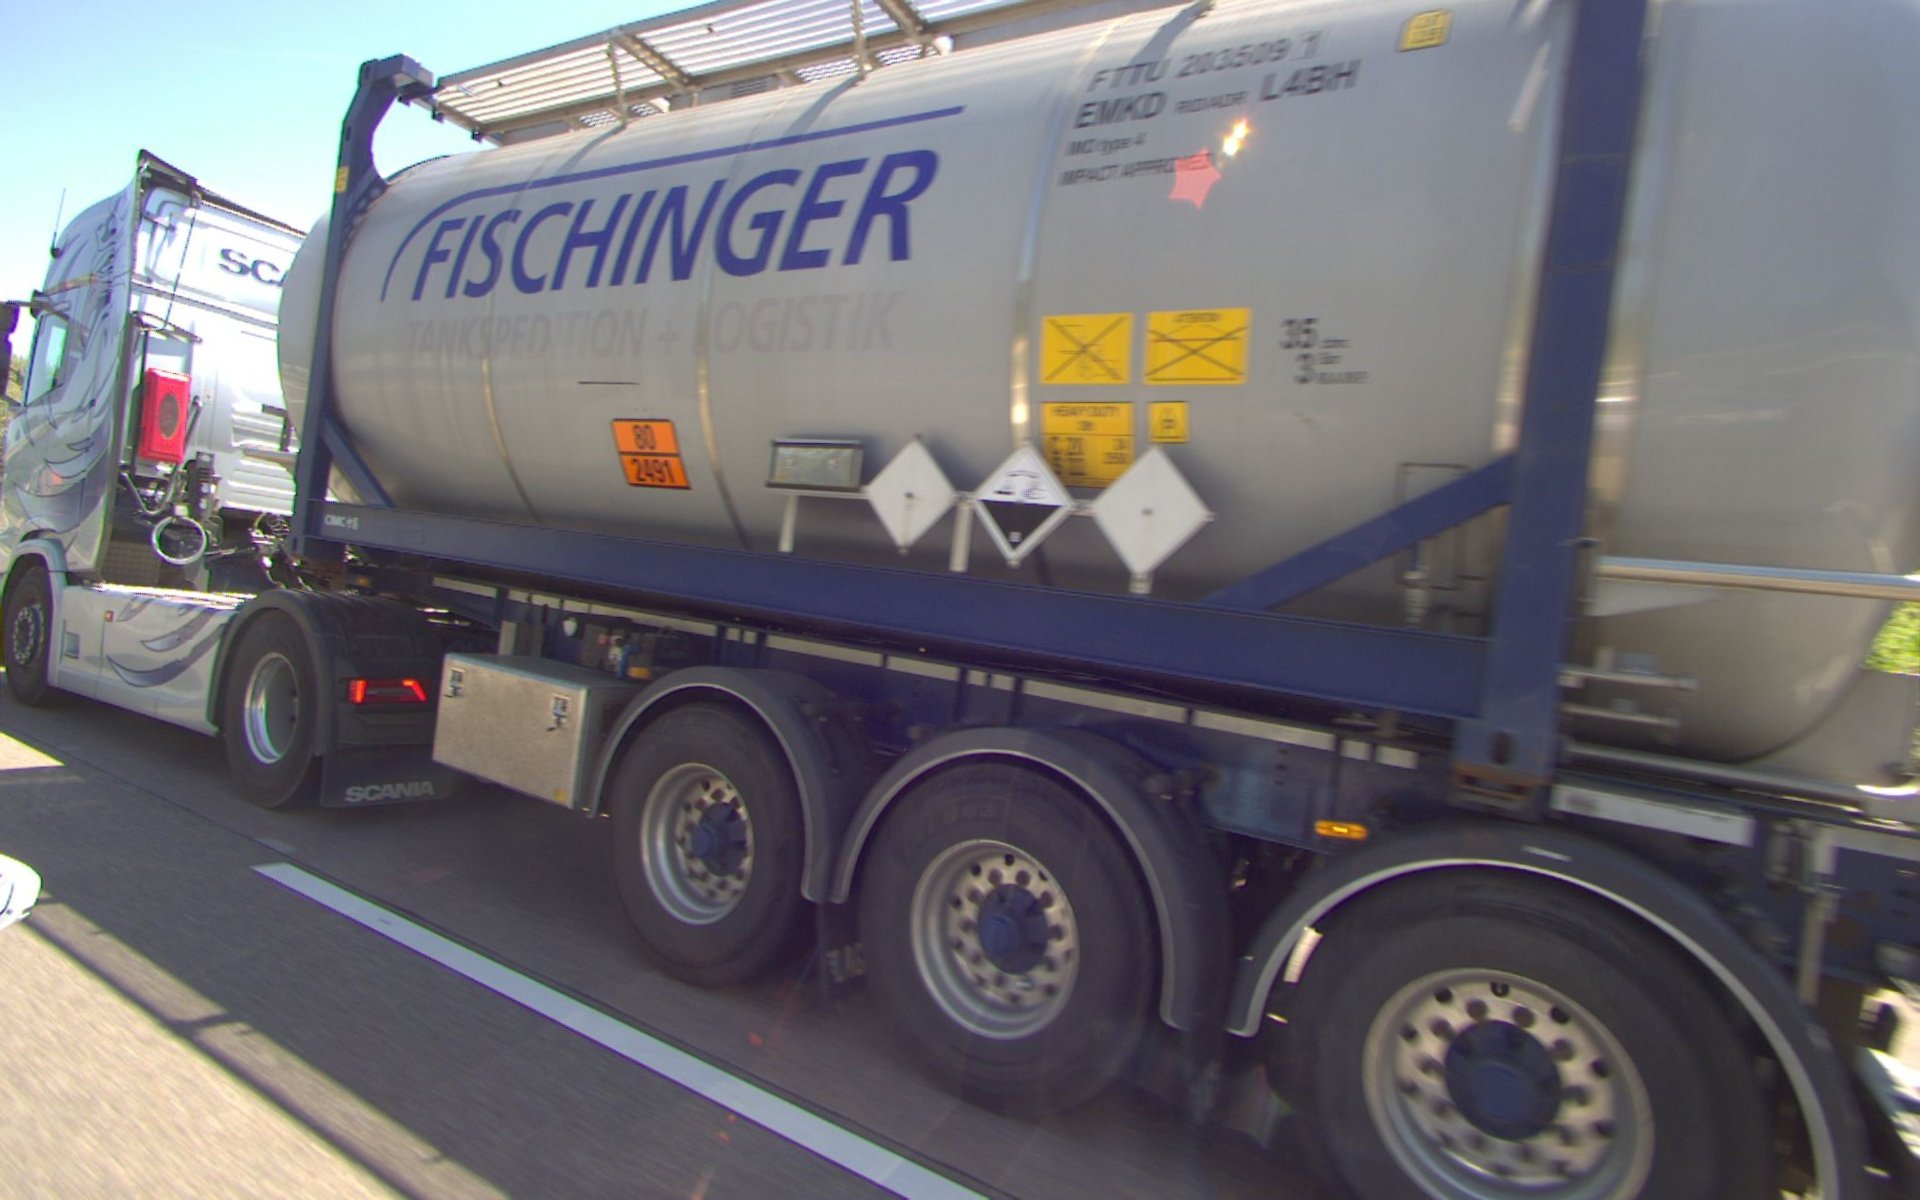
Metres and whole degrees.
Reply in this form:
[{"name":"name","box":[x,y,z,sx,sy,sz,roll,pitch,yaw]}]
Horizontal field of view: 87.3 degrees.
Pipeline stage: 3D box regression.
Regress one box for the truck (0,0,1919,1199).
[{"name":"truck","box":[-1.975,-0.728,6.014,13.133,4.093,2.804,6,-2,32]}]
